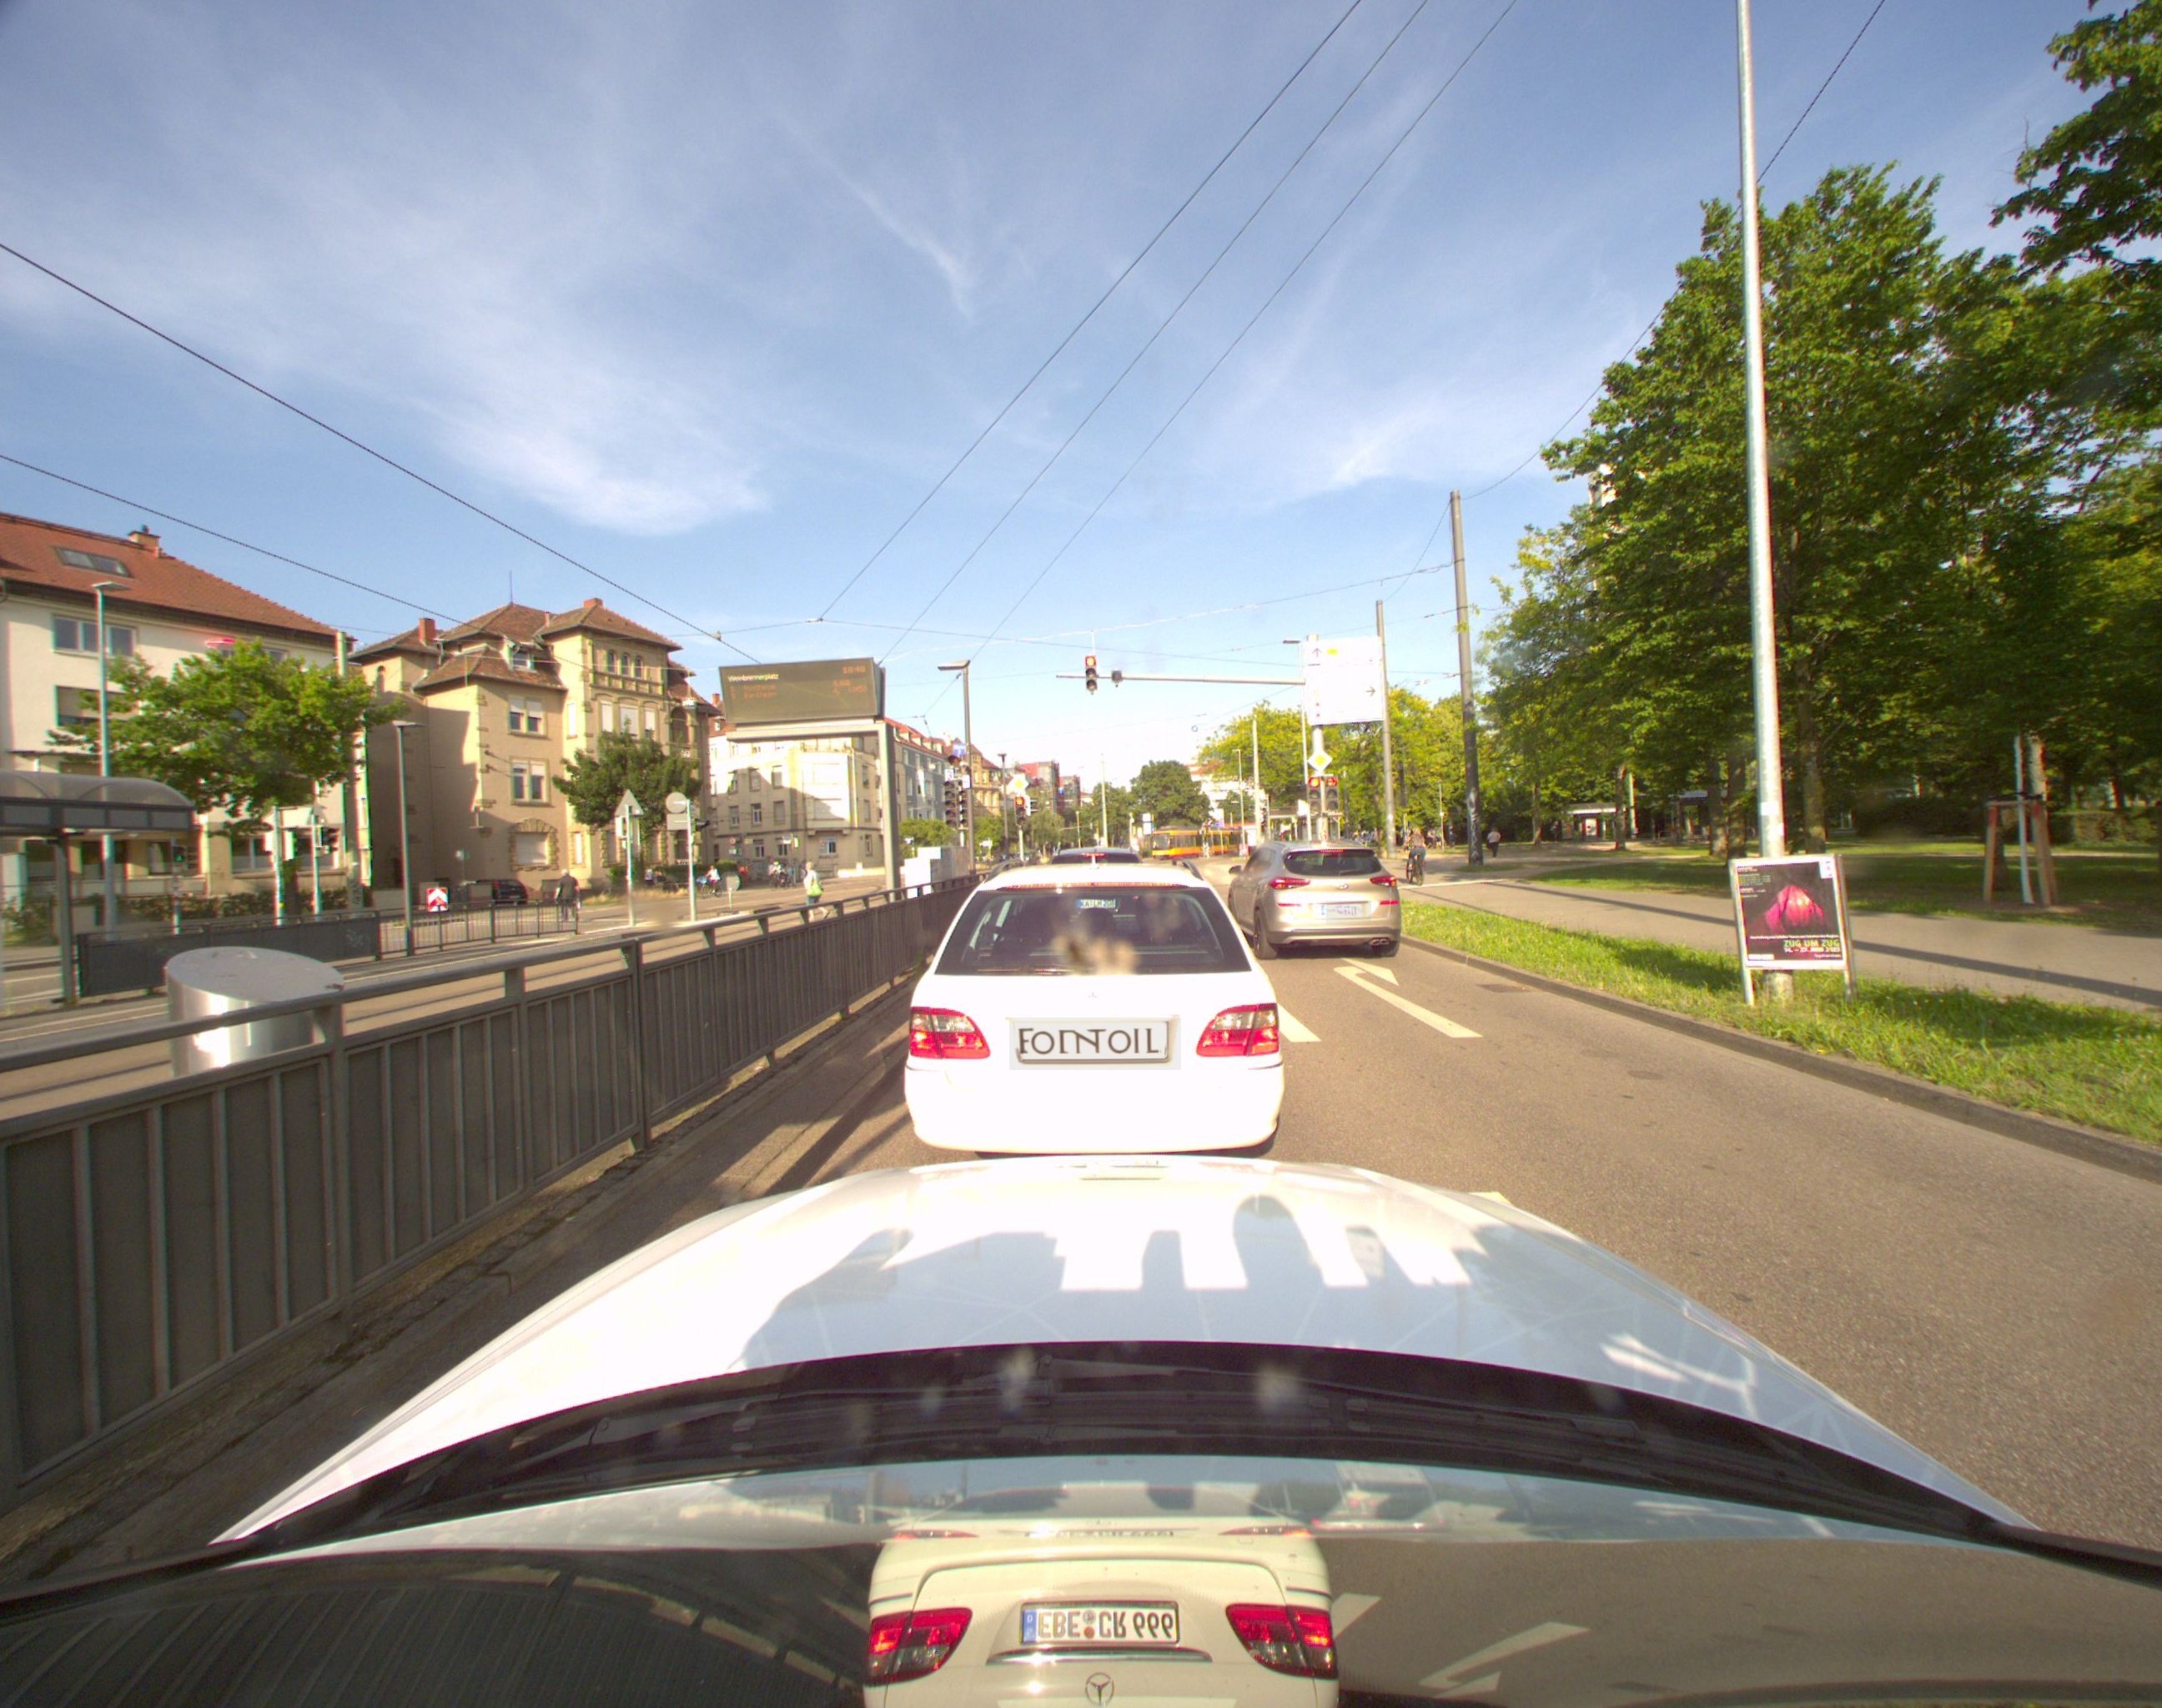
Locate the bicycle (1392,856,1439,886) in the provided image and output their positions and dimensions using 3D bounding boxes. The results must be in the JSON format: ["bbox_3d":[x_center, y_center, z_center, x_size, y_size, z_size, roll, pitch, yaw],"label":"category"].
[{"bbox_3d":[9.595,0.467,23.441,0.493,0.757,2.169,-4,0,2],"label":"bicycle"}]

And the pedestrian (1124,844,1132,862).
[{"bbox_3d":[5.000,-0.116,87.054,0.638,1.857,0.554,-3,0,13],"label":"pedestrian"}]

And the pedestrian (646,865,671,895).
[{"bbox_3d":[-23.244,1.421,44.785,0.822,1.552,0.786,-3,0,23],"label":"pedestrian"}]

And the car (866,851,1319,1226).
[{"bbox_3d":[0.096,0.734,5.087,1.789,1.470,3.649,-1,0,1],"label":"car"}]

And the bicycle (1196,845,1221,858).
[{"bbox_3d":[13.297,-0.286,84.819,2.467,1.213,0.809,-3,0,9],"label":"bicycle"}]

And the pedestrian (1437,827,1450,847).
[{"bbox_3d":[27.763,-1.301,62.385,0.805,1.487,0.705,-3,0,26],"label":"pedestrian"}]

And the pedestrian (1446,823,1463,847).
[{"bbox_3d":[29.113,-1.475,63.510,0.797,1.785,0.838,-3,0,-2],"label":"pedestrian"}]

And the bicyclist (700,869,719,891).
[{"bbox_3d":[-18.504,1.299,40.557,0.509,1.044,0.681,-3,0,9],"label":"bicyclist"}]

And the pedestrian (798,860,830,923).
[{"bbox_3d":[-7.111,0.986,21.712,0.611,1.599,0.632,-3,0,-5],"label":"pedestrian"}]

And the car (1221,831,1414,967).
[{"bbox_3d":[3.333,0.569,12.231,1.878,1.651,3.649,-3,0,2],"label":"car"}]

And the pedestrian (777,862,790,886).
[{"bbox_3d":[-19.164,1.309,52.475,0.434,1.500,0.551,-3,0,16],"label":"pedestrian"}]

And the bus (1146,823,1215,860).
[{"bbox_3d":[10.783,-1.235,86.658,3.079,3.606,12.448,-1,-1,27],"label":"bus"}]

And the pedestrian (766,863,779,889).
[{"bbox_3d":[-19.889,1.400,52.553,0.506,1.626,0.609,-3,0,3],"label":"pedestrian"}]

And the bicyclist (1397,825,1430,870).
[{"bbox_3d":[9.539,-0.184,23.383,0.532,1.262,0.869,-3,0,2],"label":"bicyclist"}]

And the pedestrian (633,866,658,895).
[{"bbox_3d":[-24.162,1.468,45.178,0.822,1.552,0.786,-3,0,23],"label":"pedestrian"}]

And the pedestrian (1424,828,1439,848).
[{"bbox_3d":[27.250,-1.239,63.301,0.820,1.487,0.692,-3,0,-40],"label":"pedestrian"}]

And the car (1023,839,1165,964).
[{"bbox_3d":[0.232,0.625,12.661,1.878,1.651,3.649,0,0,2],"label":"car"}]

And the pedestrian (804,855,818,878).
[{"bbox_3d":[-23.815,1.115,71.854,0.768,2.013,0.790,-3,0,17],"label":"pedestrian"}]

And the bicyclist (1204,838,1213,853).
[{"bbox_3d":[13.273,-0.891,84.793,0.855,1.482,0.792,-3,0,11],"label":"bicyclist"}]

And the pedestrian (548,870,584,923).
[{"bbox_3d":[-16.471,1.348,26.044,0.798,1.645,0.748,-3,0,-42],"label":"pedestrian"}]

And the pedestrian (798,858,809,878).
[{"bbox_3d":[-24.202,1.231,70.985,0.615,1.660,0.589,-3,0,17],"label":"pedestrian"}]

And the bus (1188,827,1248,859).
[{"bbox_3d":[16.663,-1.189,97.768,3.079,3.606,12.667,-1,-1,29],"label":"bus"}]

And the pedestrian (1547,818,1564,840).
[{"bbox_3d":[36.159,-1.890,62.111,0.831,1.636,0.804,-3,0,8],"label":"pedestrian"}]

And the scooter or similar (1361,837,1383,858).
[{"bbox_3d":[16.186,-0.354,45.314,0.421,1.117,1.322,-3,0,-18],"label":"scooter or similar"}]

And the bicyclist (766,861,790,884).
[{"bbox_3d":[-18.016,1.084,48.416,0.759,1.262,1.177,-3,0,9],"label":"bicyclist"}]

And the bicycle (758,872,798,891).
[{"bbox_3d":[-17.980,1.619,48.473,0.779,0.914,3.006,-3,0,10],"label":"bicycle"}]

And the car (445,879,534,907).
[{"bbox_3d":[-29.458,1.909,40.570,4.066,1.310,1.774,-1,-1,24],"label":"car"}]

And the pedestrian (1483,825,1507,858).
[{"bbox_3d":[21.555,-0.656,42.447,0.758,1.636,0.800,-3,0,-38],"label":"pedestrian"}]

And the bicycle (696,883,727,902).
[{"bbox_3d":[-18.449,1.908,40.715,0.523,0.834,1.690,-3,0,9],"label":"bicycle"}]

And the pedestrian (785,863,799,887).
[{"bbox_3d":[-19.915,1.444,56.095,0.626,1.541,0.711,-3,0,1],"label":"pedestrian"}]

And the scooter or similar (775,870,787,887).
[{"bbox_3d":[-19.628,1.619,53.245,0.541,1.079,0.683,-1,-1,1],"label":"scooter or similar"}]

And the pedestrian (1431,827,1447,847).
[{"bbox_3d":[28.098,-1.321,63.890,0.813,1.487,0.698,-3,0,-9],"label":"pedestrian"}]
